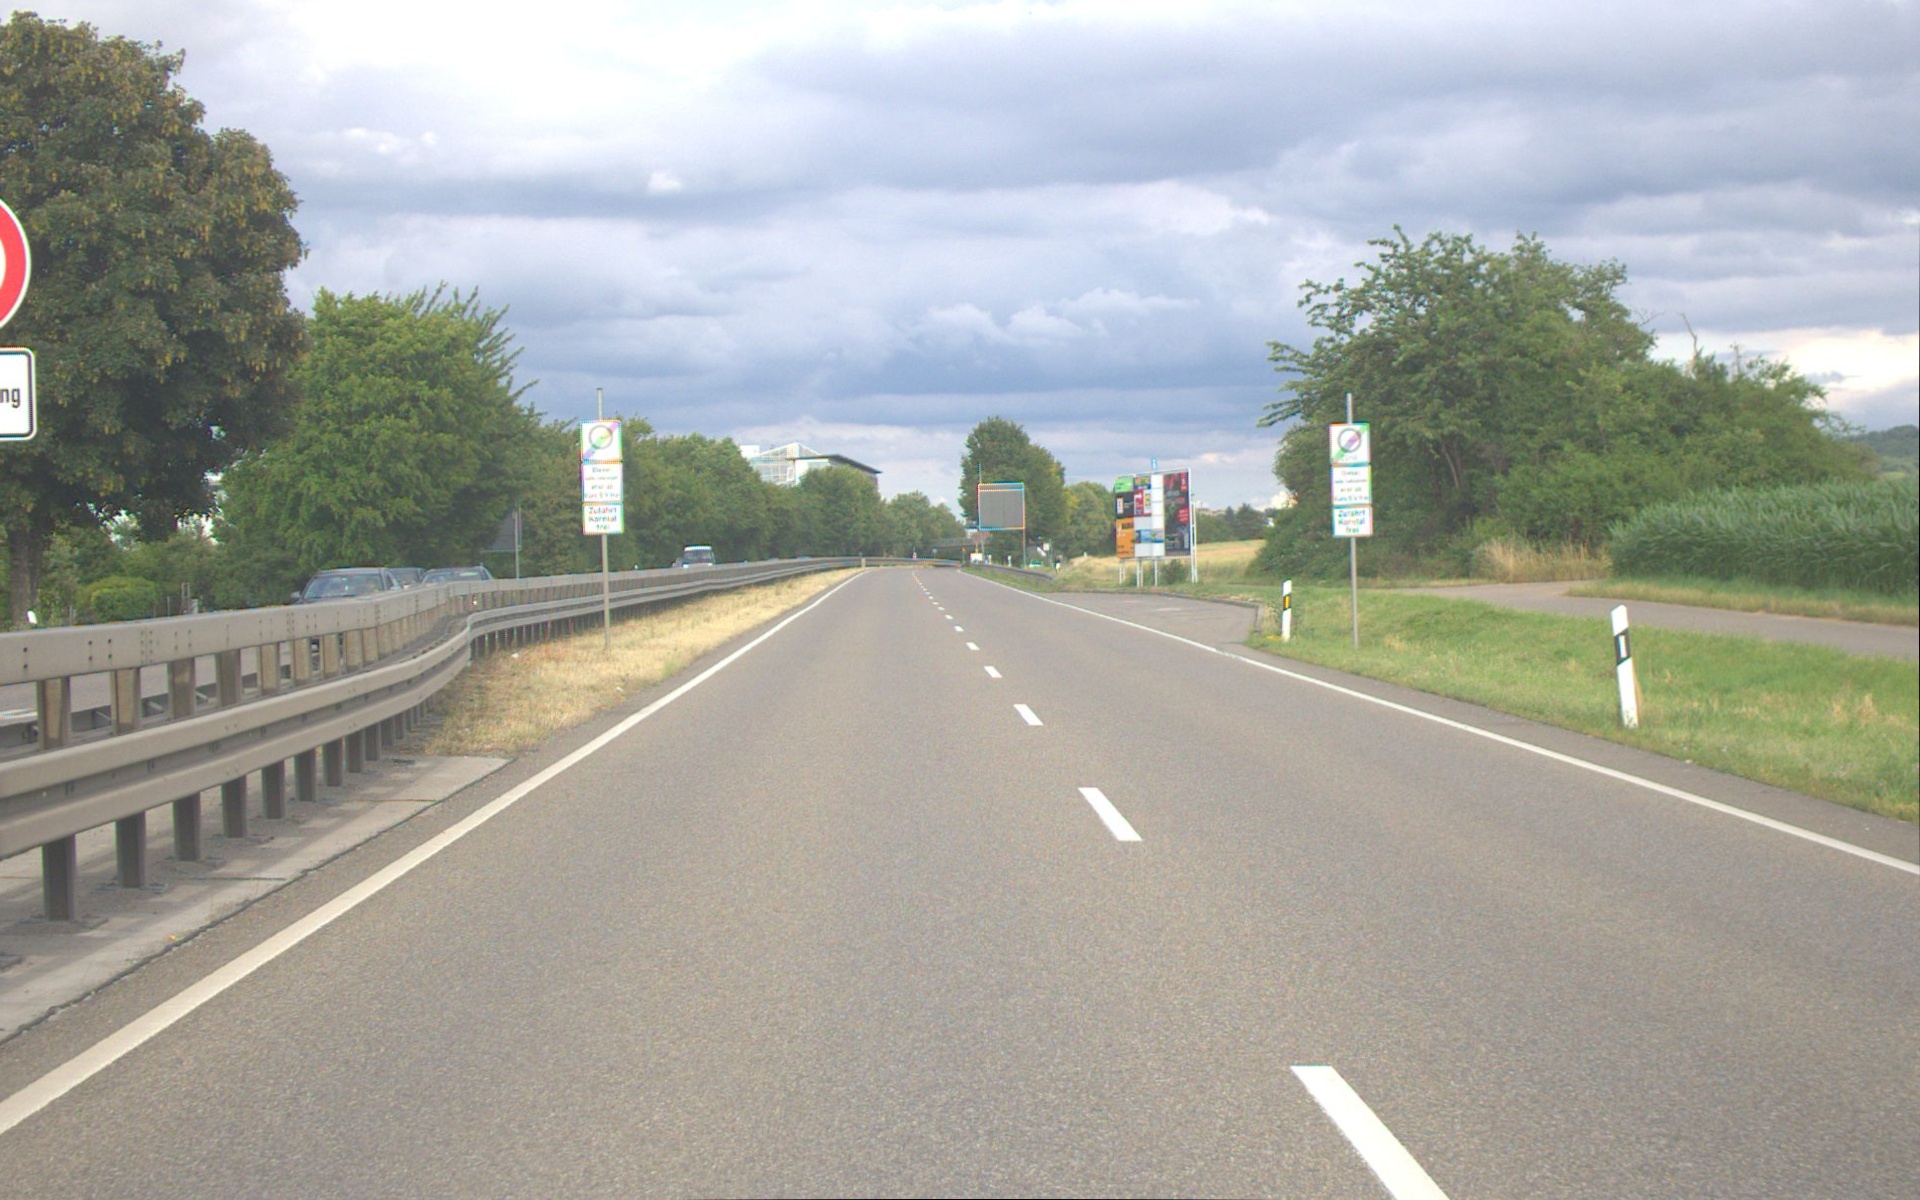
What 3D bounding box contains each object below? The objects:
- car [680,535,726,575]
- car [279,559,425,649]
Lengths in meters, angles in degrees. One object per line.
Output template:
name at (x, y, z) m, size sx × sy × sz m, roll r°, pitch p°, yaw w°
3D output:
car at (-14.170, -2.493, 189.892) m, size 1.993 × 2.133 × 5.319 m, roll -3°, pitch 1°, yaw 0°
car at (-11.072, 0.041, 62.898) m, size 1.866 × 1.472 × 4.826 m, roll -2°, pitch 1°, yaw -1°
